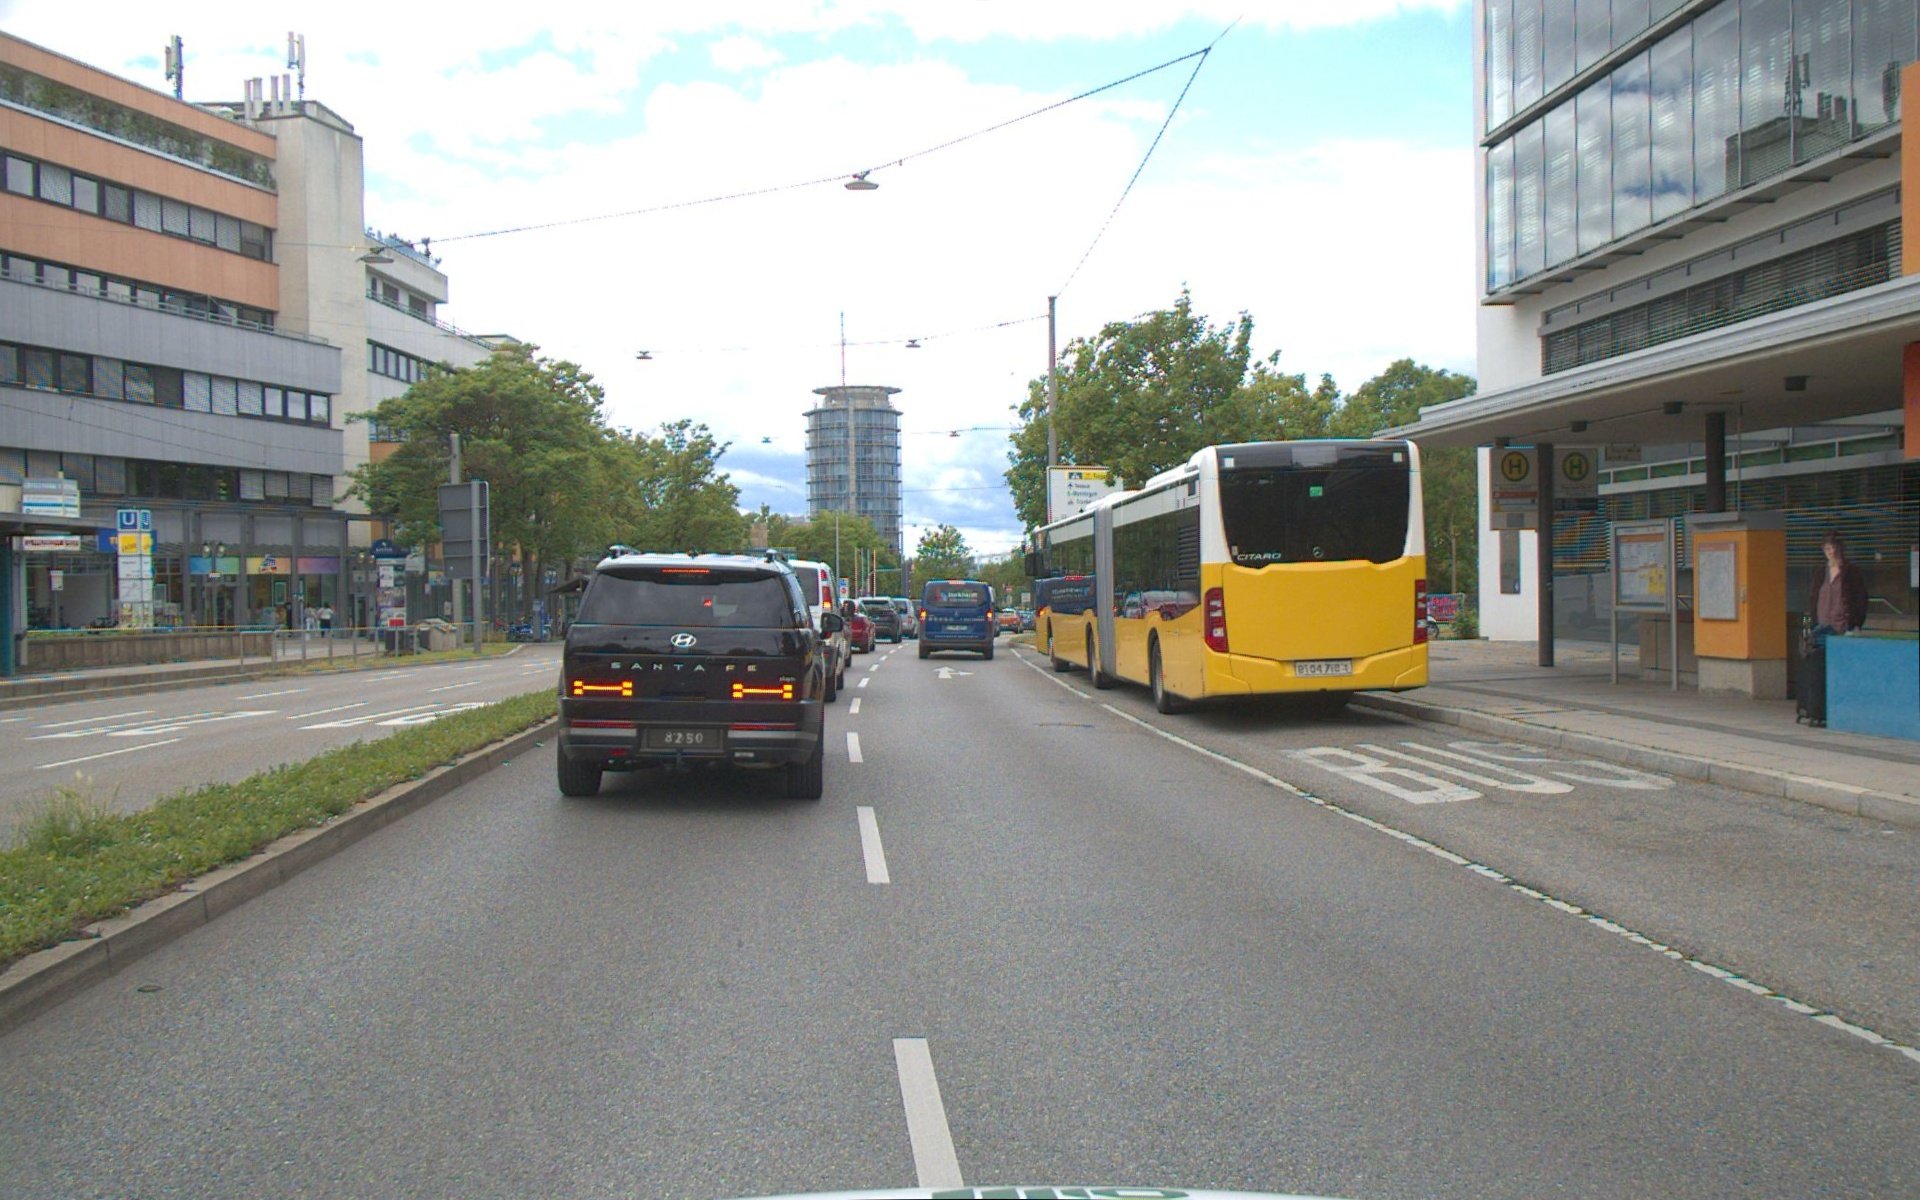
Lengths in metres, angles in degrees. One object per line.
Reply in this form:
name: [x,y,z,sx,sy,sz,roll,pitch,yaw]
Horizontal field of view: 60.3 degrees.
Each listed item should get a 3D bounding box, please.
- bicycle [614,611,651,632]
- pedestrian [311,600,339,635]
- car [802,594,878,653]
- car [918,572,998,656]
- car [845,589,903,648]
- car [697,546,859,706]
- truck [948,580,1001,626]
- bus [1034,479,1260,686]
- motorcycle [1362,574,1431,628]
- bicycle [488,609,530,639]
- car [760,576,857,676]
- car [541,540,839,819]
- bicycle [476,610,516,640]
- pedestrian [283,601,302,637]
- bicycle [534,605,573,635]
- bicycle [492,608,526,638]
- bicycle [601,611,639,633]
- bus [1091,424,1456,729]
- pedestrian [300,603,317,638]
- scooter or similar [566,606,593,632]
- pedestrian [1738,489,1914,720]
bicycle: [-18.888,1.236,95.485,2.026,1.173,0.710,0,-1,-8]
pedestrian: [-28.678,0.804,74.736,0.893,1.554,0.838,-2,0,-44]
car: [-3.246,0.654,45.382,1.830,1.512,3.998,-1,-1,-1]
car: [-0.075,0.355,41.811,1.908,2.000,4.540,0,-1,-1]
car: [-3.086,0.642,60.015,1.953,2.049,3.999,0,1,-1]
car: [-2.537,0.313,24.188,1.835,2.049,5.075,-2,1,-1]
truck: [0.777,0.173,83.534,1.951,2.203,5.563,1,0,8]
bus: [3.192,-0.323,30.927,2.658,3.219,9.122,-2,1,-3]
motorcycle: [10.288,0.022,39.025,0.577,1.243,1.563,-1,0,-34]
bicycle: [-19.623,1.041,72.010,0.615,1.275,1.674,-2,0,41]
car: [-3.049,0.530,33.310,1.713,1.753,3.995,-4,-1,-5]
car: [-1.932,0.497,13.075,1.885,1.782,4.674,1,1,-5]
bicycle: [-20.518,1.099,73.165,0.615,1.275,1.675,-2,-1,40]
pedestrian: [-29.609,0.832,73.342,0.587,1.554,0.549,-2,0,-44]
bicycle: [-18.132,0.887,73.797,0.615,1.275,1.675,-2,-1,40]
bicycle: [-19.908,1.027,72.992,0.425,1.275,1.461,-2,0,42]
bicycle: [-19.205,1.226,93.347,2.026,1.173,0.710,2,-1,-8]
bus: [3.687,-0.296,21.974,2.658,3.163,8.865,-2,1,-3]
pedestrian: [-29.043,0.901,73.772,0.495,1.554,0.624,-1,0,-41]
scooter or similar: [-19.452,0.965,84.485,1.294,1.292,0.339,0,-1,0]
pedestrian: [7.997,0.035,15.321,1.117,2.049,0.880,-2,0,-3]
